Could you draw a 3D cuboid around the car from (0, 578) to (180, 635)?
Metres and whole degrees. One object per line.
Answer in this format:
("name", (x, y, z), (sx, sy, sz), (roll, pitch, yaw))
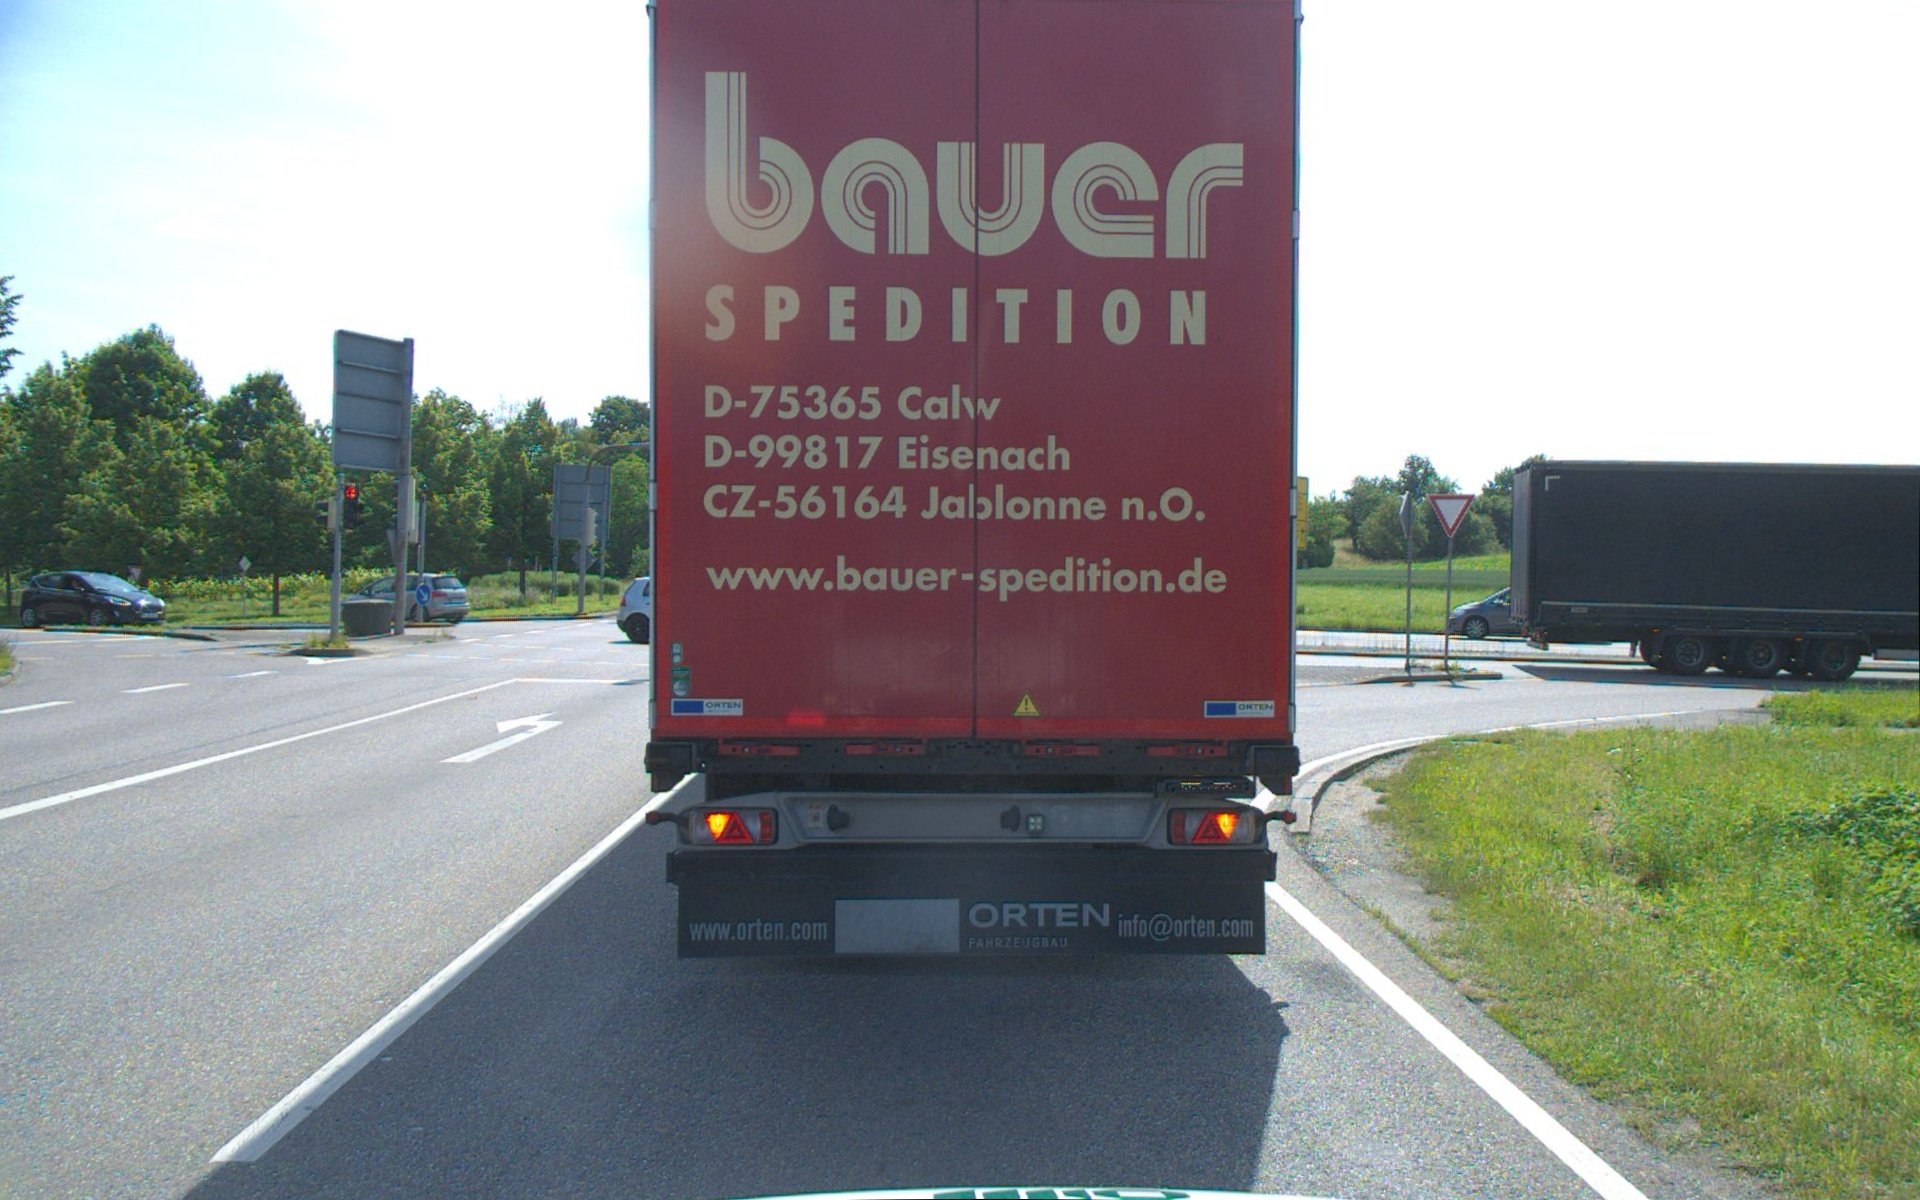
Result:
("car", (-22.075, 0.140, 41.929), (4.179, 1.328, 1.742), (1, 1, 20))

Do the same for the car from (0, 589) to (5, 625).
("car", (-39.499, 0.240, 65.534), (3.788, 1.381, 1.668), (1, -1, 39))

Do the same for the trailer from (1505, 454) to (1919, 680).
("trailer", (17.763, -0.613, 31.965), (13.392, 4.132, 2.801), (1, 1, 10))

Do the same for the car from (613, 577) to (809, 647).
("car", (-5.582, 0.238, 37.205), (3.949, 1.441, 1.796), (1, 1, 15))

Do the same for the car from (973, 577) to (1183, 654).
("car", (2.522, 0.294, 35.037), (4.156, 1.486, 1.811), (1, 1, 15))

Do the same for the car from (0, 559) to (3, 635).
("car", (-22.753, -0.077, 36.642), (1.795, 1.625, 4.202), (-1, 1, -43))

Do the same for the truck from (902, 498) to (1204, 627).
("truck", (2.836, -1.362, 58.857), (2.989, 4.049, 14.169), (0, 1, -32))

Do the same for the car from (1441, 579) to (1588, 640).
("car", (15.900, 0.270, 47.477), (3.904, 1.624, 1.665), (1, 0, 19))

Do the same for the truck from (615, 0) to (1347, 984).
("truck", (-0.071, -0.670, 14.446), (2.679, 3.993, 16.622), (1, 1, -1))

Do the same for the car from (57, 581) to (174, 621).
("car", (-29.772, 0.018, 58.277), (4.189, 1.328, 1.738), (1, 0, 32))

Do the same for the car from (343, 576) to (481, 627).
("car", (-16.876, 0.044, 50.956), (3.913, 1.517, 1.538), (1, -1, 21))
